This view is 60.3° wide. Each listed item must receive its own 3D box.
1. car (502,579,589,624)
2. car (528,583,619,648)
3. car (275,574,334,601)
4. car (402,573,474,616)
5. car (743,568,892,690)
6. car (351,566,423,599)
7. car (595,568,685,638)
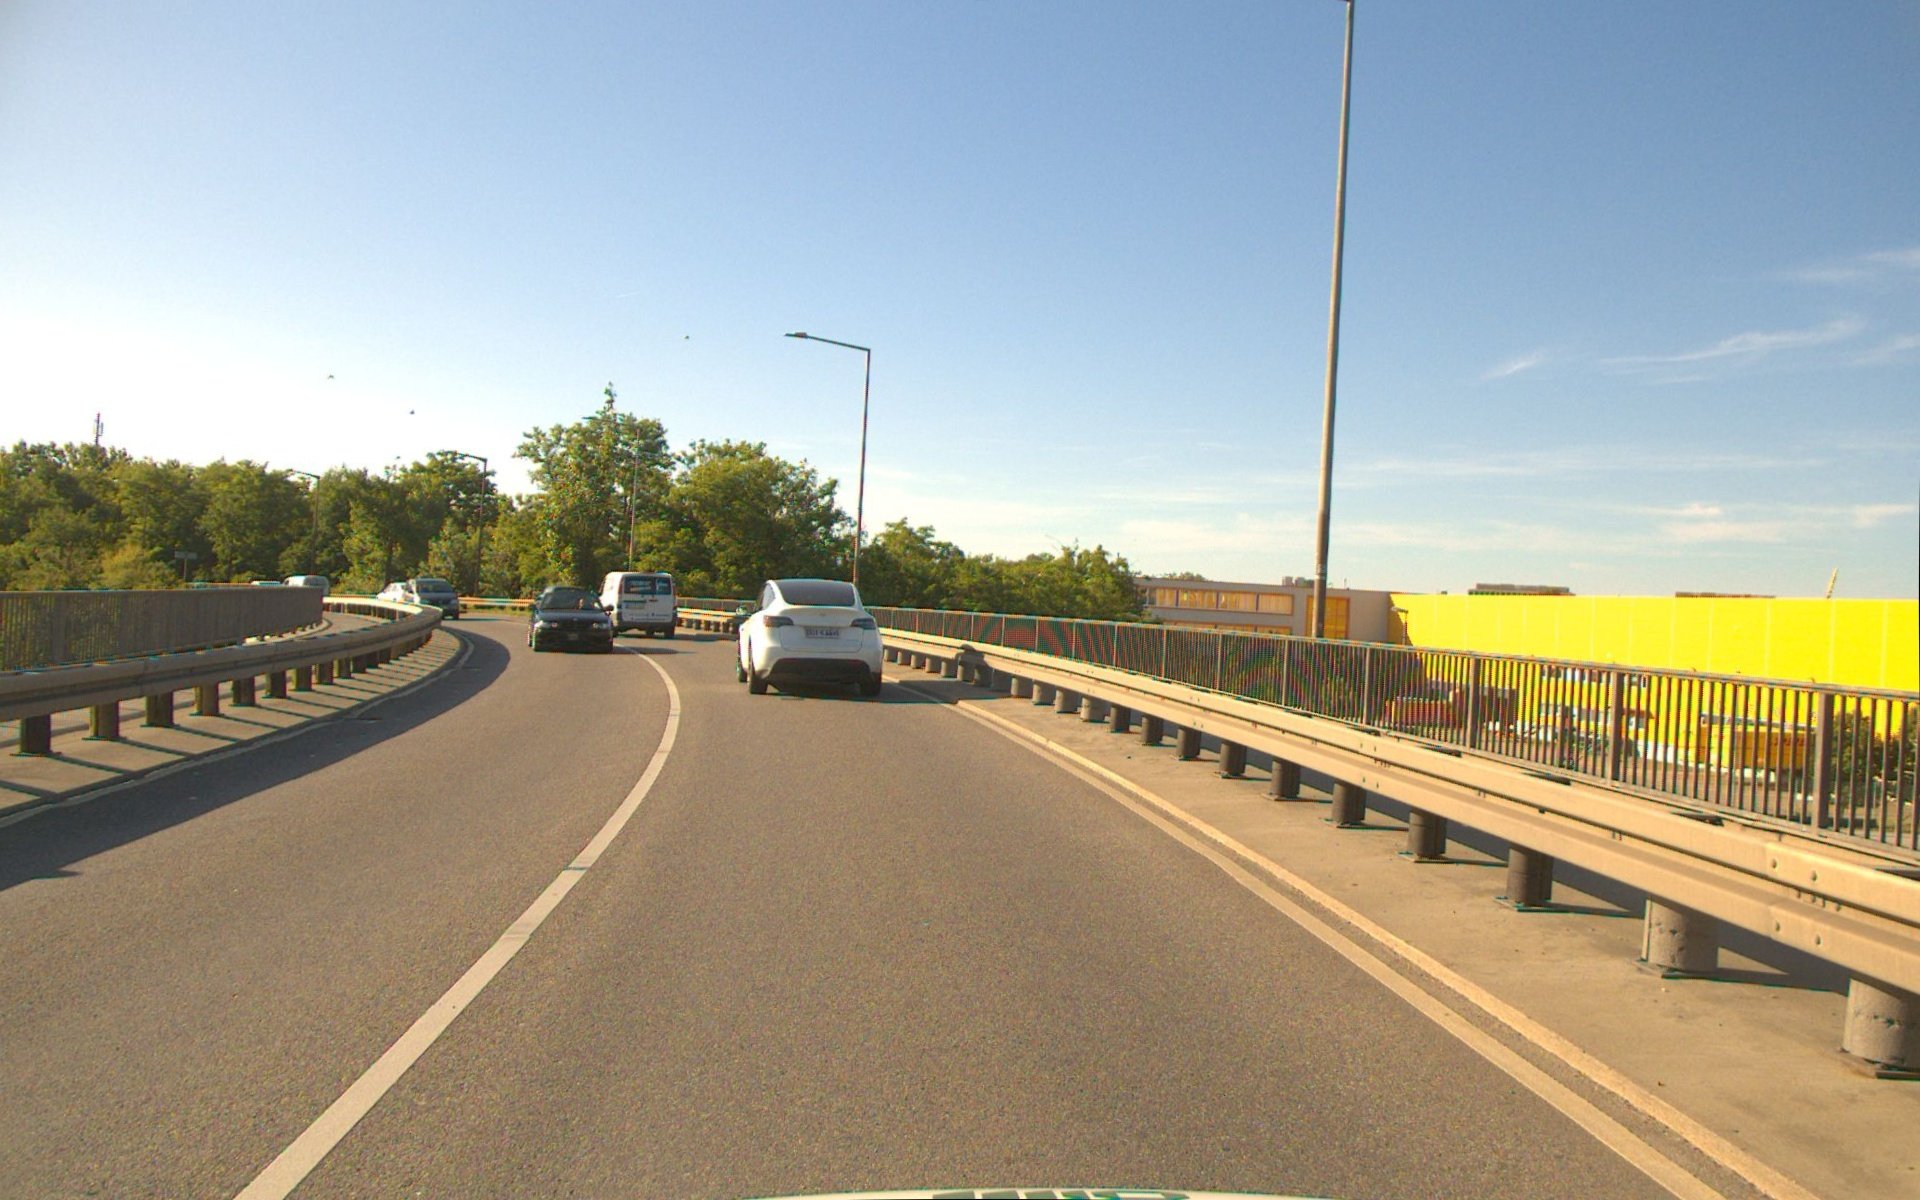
[{"bbox_3d":[-16.017,0.059,63.850,1.953,1.666,3.949,0,0,-36],"label":"car"},{"bbox_3d":[-8.851,0.317,37.705,1.717,1.379,4.162,1,0,-17],"label":"car"},{"bbox_3d":[-38.595,-0.743,97.314,3.827,1.583,1.829,1,1,44],"label":"car"},{"bbox_3d":[-21.054,-0.235,66.608,1.831,1.651,4.058,1,1,-32],"label":"car"},{"bbox_3d":[-2.204,0.399,24.613,1.948,1.666,4.054,0,0,-9],"label":"car"},{"bbox_3d":[-29.543,-0.901,85.253,3.843,1.612,1.855,1,1,41],"label":"car"},{"bbox_3d":[-9.565,0.062,49.182,1.975,1.974,4.442,1,0,-19],"label":"car"}]
